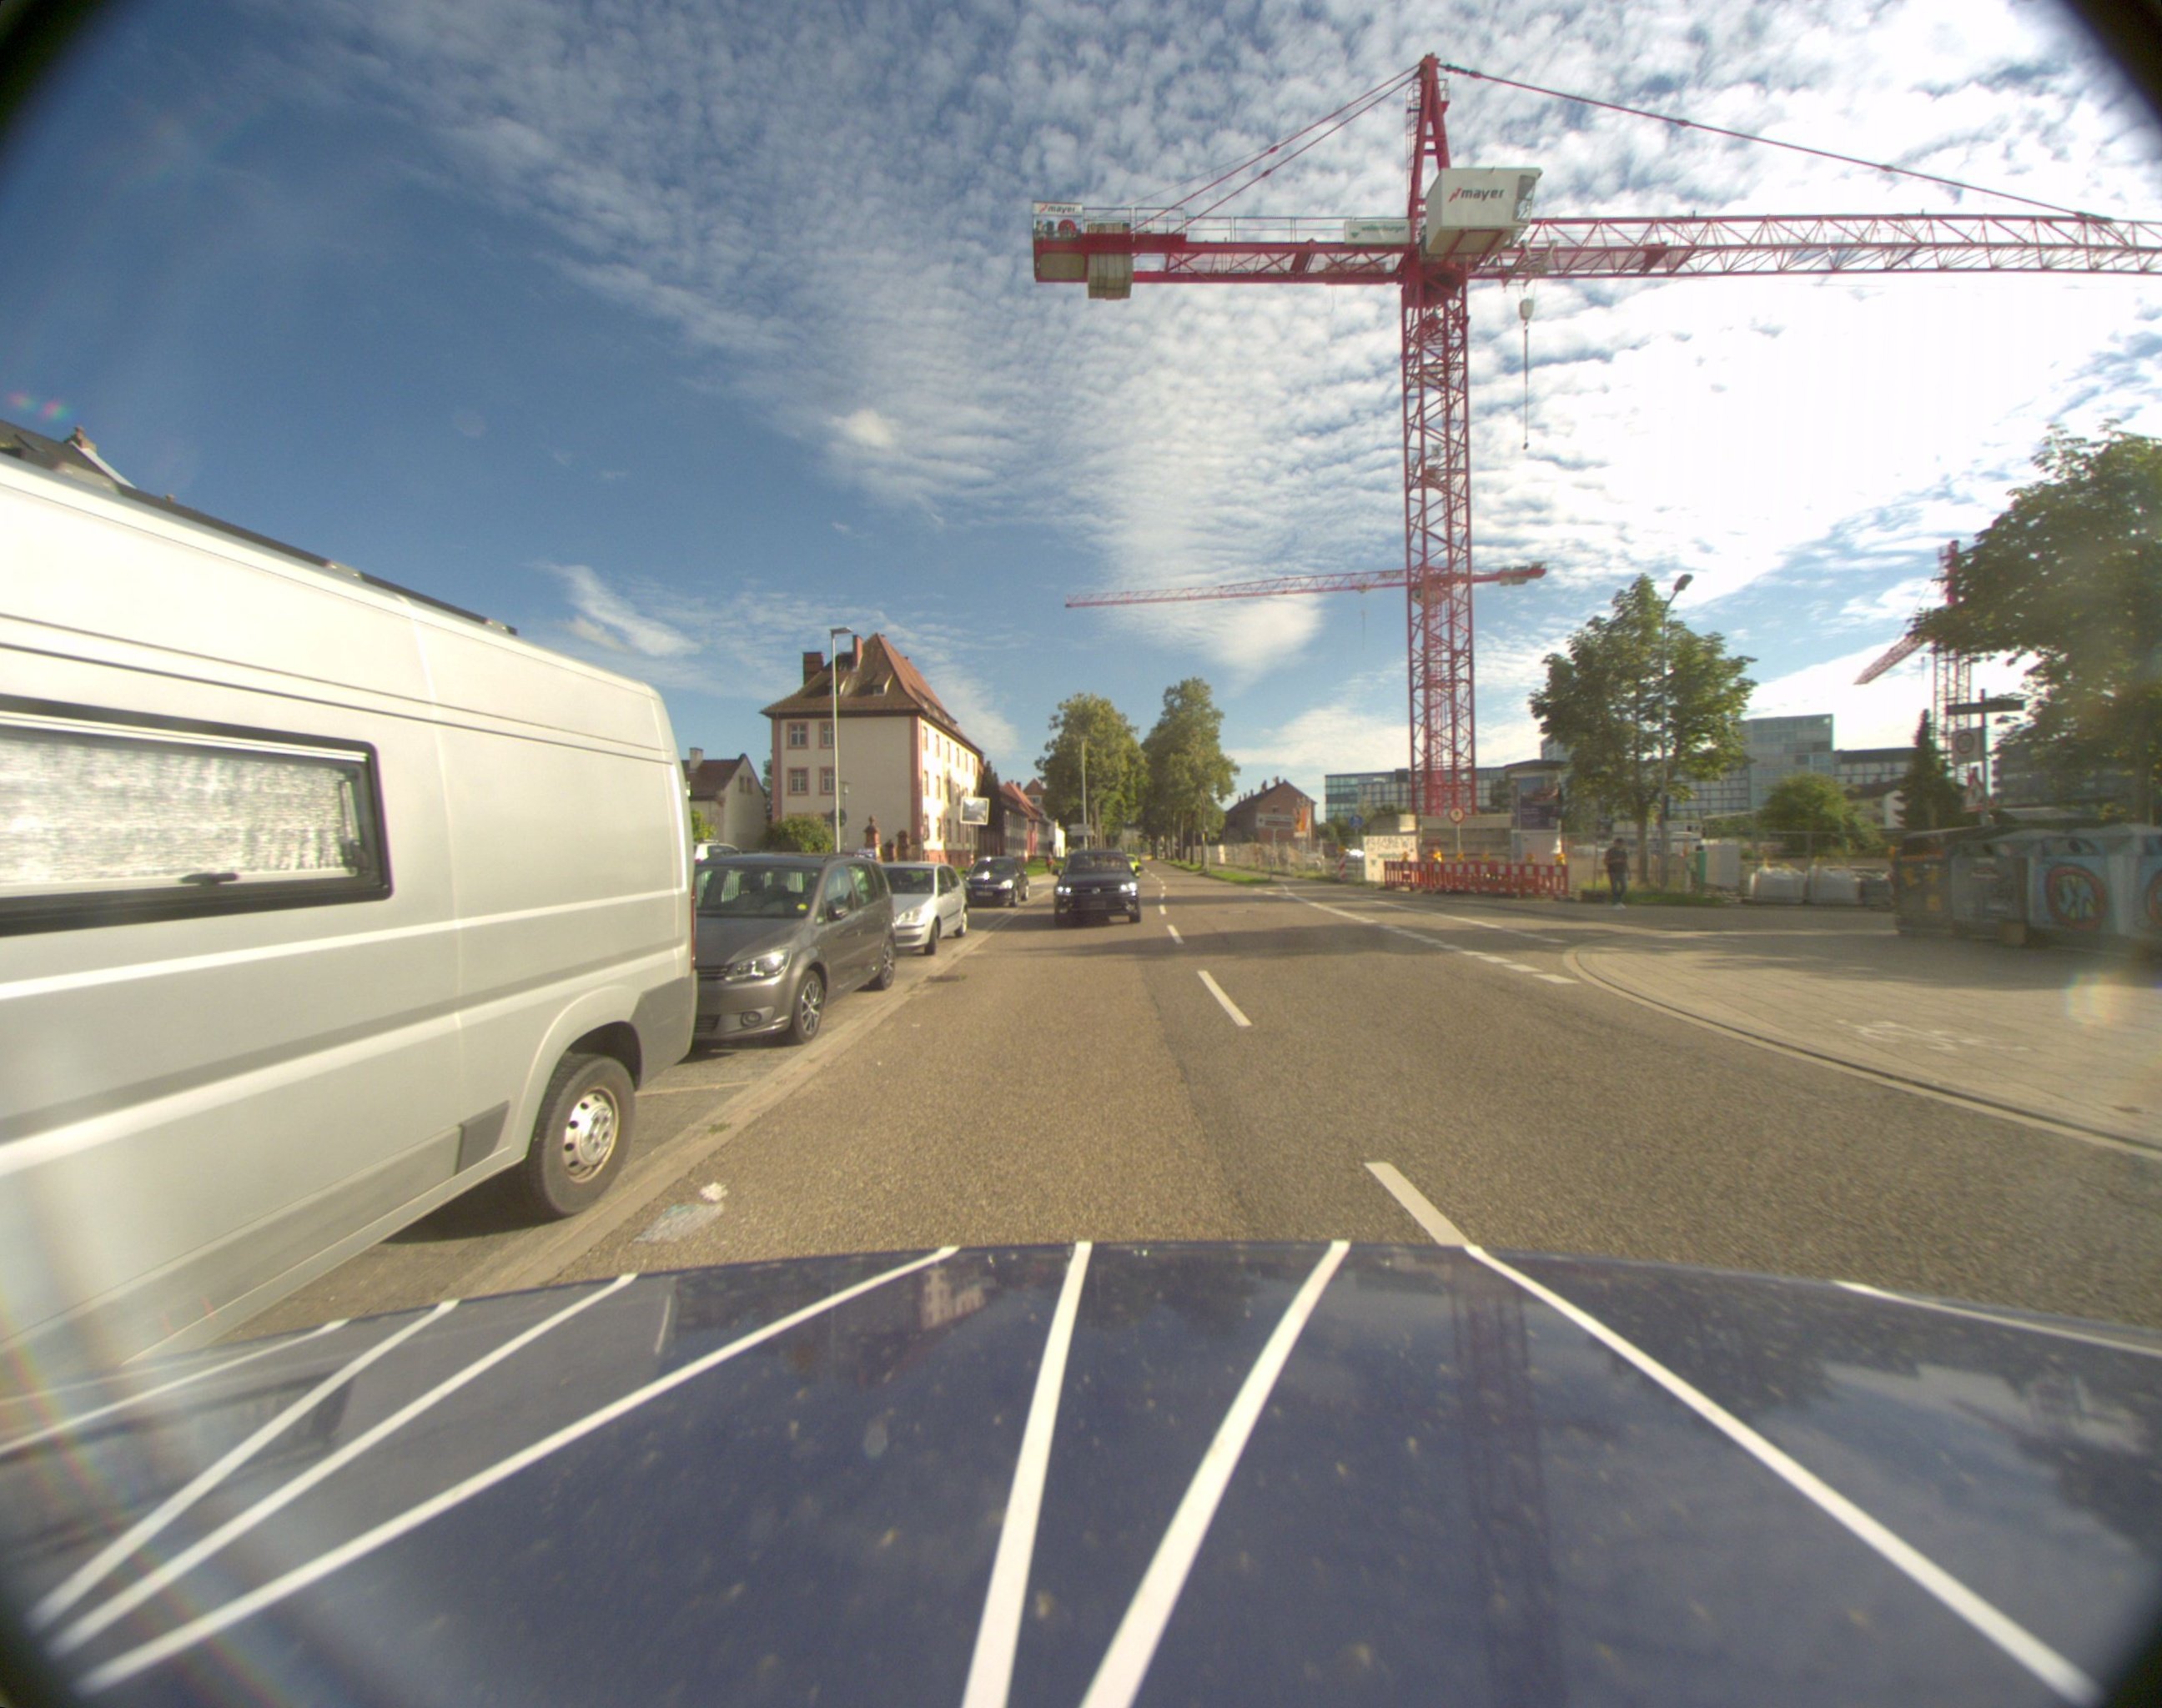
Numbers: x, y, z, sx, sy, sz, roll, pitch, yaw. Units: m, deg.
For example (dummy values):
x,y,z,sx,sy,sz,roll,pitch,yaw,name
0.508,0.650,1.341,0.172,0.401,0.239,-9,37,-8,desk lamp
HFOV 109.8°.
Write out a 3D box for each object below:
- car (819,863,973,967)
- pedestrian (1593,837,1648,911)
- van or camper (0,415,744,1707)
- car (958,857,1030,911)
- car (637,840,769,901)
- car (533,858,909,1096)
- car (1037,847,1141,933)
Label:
x,y,z,sx,sy,sz,roll,pitch,yaw,name
-3.039,0.941,13.323,1.662,1.477,4.000,0,0,1,car
12.935,0.470,18.233,0.743,1.758,0.775,0,1,-2,pedestrian
-3.166,0.398,1.773,2.165,2.512,5.913,1,0,-1,van or camper
-2.615,0.865,23.780,1.662,1.477,4.000,1,0,2,car
-11.498,0.466,23.464,1.888,1.709,4.091,0,0,2,car
-3.073,0.897,7.570,1.677,1.639,4.204,1,0,1,car
0.310,0.715,17.282,1.858,1.673,4.002,-2,0,7,car
